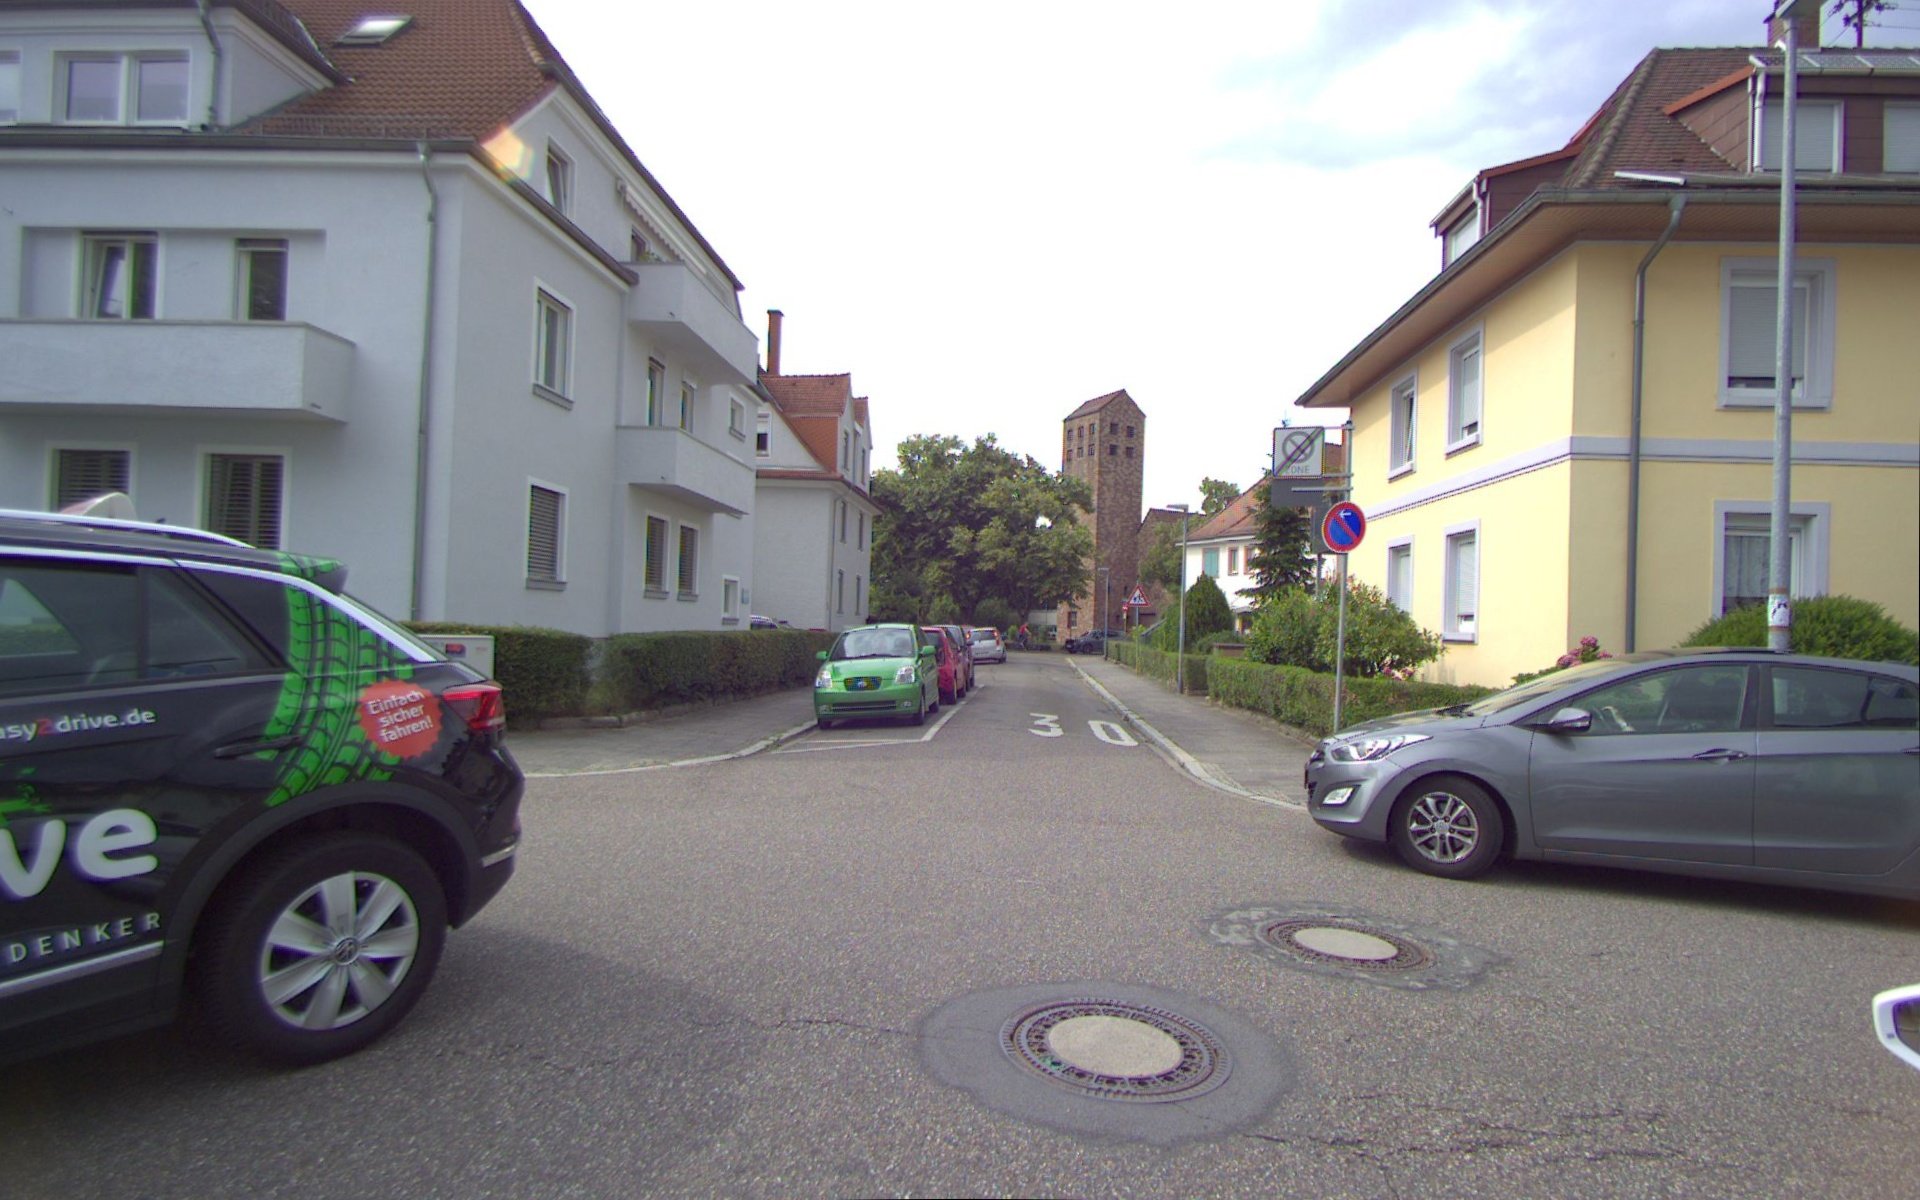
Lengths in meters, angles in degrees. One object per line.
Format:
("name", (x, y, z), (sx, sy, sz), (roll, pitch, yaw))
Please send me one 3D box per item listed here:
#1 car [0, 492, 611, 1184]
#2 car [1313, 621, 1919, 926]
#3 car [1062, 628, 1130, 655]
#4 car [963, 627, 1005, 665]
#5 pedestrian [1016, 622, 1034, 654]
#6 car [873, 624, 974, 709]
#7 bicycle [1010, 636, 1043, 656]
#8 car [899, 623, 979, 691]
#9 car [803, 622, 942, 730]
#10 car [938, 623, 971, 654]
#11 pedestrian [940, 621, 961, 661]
("car", (-3.111, 0.523, 2.399), (1.792, 1.540, 4.030), (0, -1, 35))
("car", (4.400, 0.963, 6.474), (3.961, 1.500, 1.855), (2, -1, 19))
("car", (8.616, 2.642, 63.708), (4.143, 1.483, 1.685), (2, 0, 4))
("car", (1.049, 1.920, 42.886), (1.618, 1.515, 3.483), (-1, -2, 4))
("pedestrian", (3.897, 2.278, 60.146), (0.910, 1.841, 0.624), (2, -1, 11))
("car", (-0.637, 1.255, 19.873), (1.618, 1.515, 3.483), (-1, -2, 4))
("bicycle", (3.976, 2.734, 60.111), (1.858, 1.145, 0.454), (2, -1, 11))
("car", (-0.440, 1.343, 24.463), (1.618, 1.515, 3.483), (-1, -2, 4))
("car", (-1.233, 1.097, 15.543), (1.618, 1.440, 3.483), (-1, -2, 4))
("car", (-0.324, 2.010, 52.319), (1.619, 1.515, 3.481), (-1, -2, -2))
("pedestrian", (-0.473, 1.983, 48.684), (0.866, 1.903, 1.079), (2, -1, 5))
